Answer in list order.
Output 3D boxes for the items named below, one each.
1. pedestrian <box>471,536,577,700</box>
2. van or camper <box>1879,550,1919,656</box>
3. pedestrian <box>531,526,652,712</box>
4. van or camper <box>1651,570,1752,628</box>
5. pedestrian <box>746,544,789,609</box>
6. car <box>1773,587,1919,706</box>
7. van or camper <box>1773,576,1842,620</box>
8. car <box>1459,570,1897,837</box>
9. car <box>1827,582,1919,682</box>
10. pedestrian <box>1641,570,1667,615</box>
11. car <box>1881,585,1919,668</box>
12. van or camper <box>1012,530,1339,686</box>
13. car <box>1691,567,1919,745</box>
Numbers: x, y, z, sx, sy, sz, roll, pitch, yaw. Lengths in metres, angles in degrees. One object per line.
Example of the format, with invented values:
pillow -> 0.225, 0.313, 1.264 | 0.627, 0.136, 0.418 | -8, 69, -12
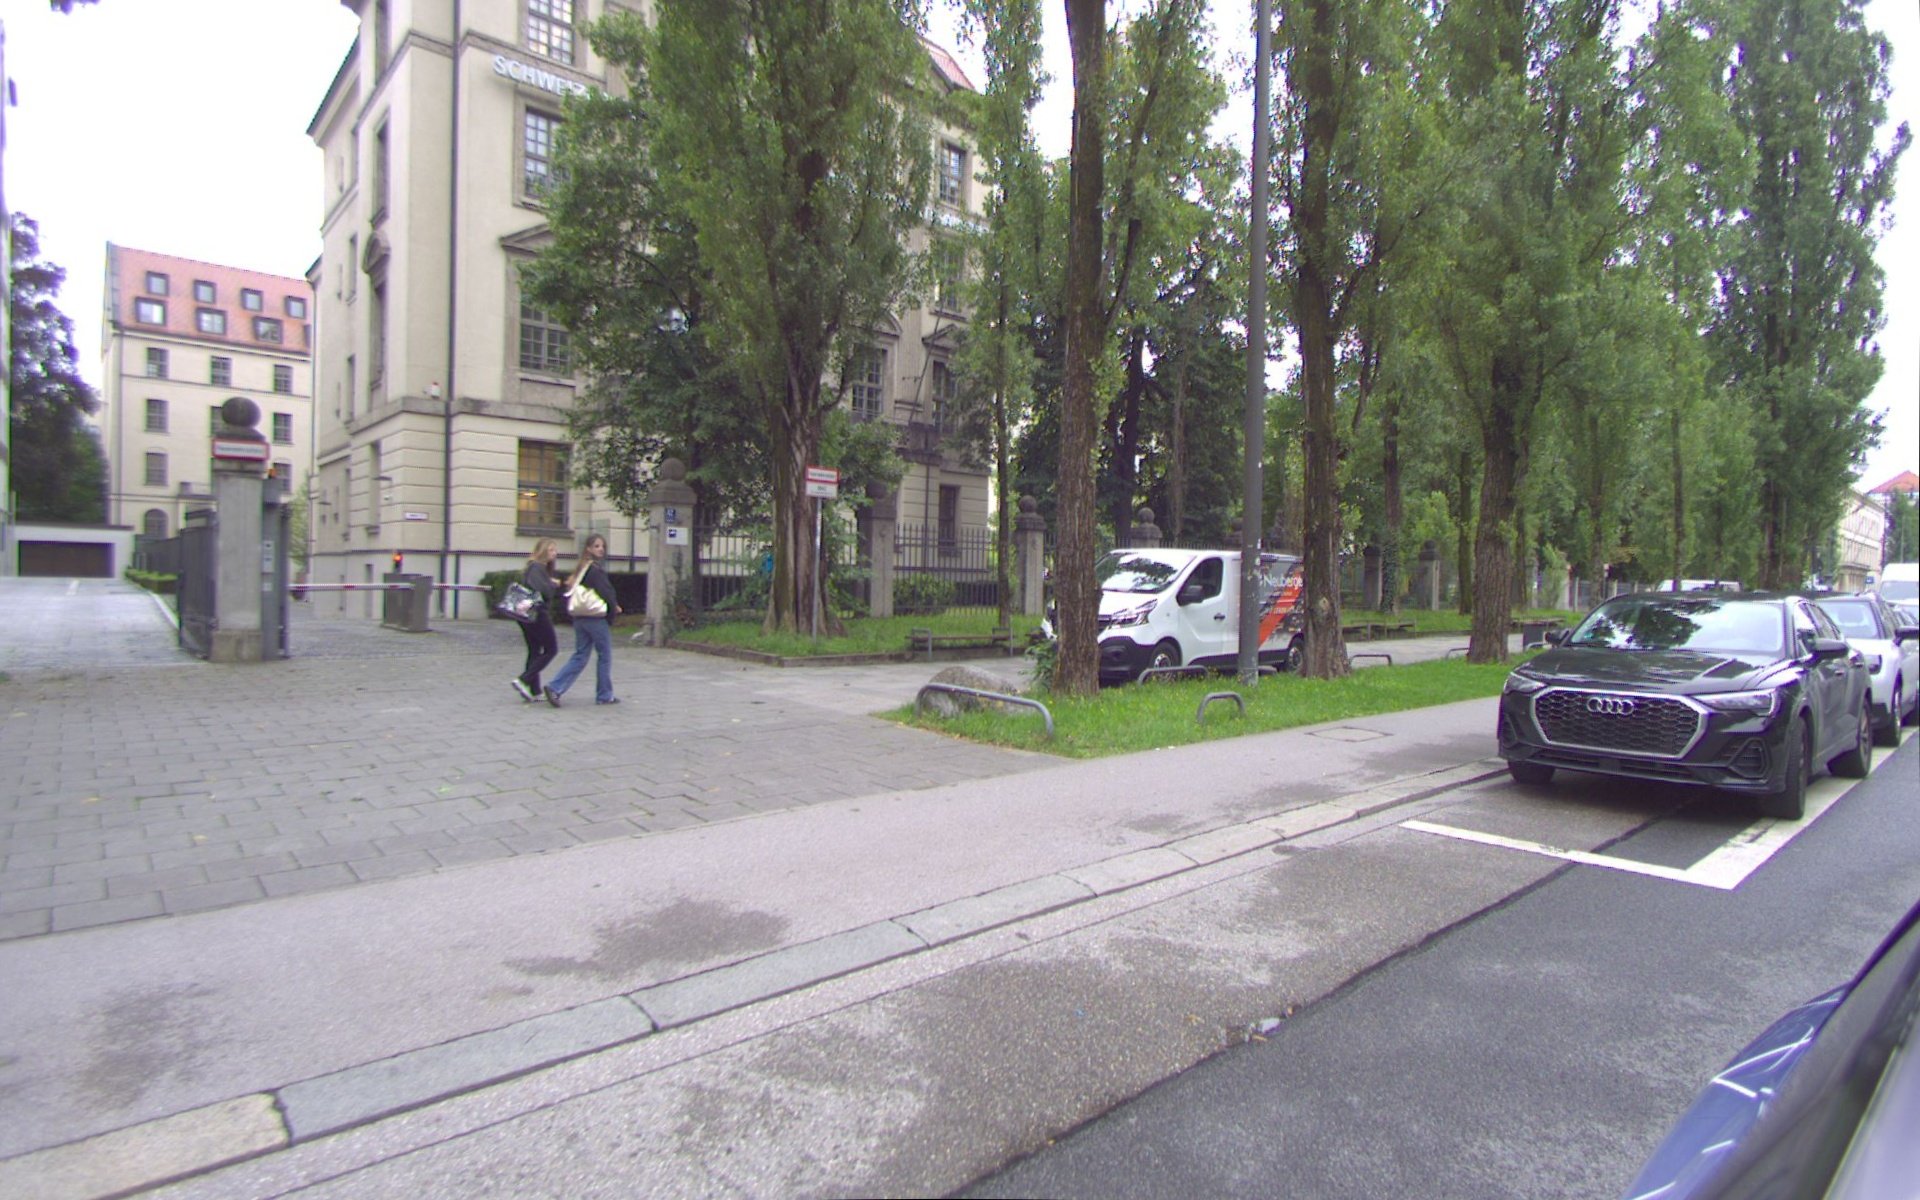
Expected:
pedestrian -> -4.453, 0.165, 10.347 | 0.852, 1.598, 0.568 | 0, 2, -42
van or camper -> 25.895, 0.076, 26.424 | 6.306, 2.572, 2.142 | 0, 1, -42
pedestrian -> -3.668, 0.159, 10.059 | 0.852, 1.738, 0.855 | 0, 2, -42
van or camper -> 26.633, -0.034, 36.268 | 4.952, 1.958, 1.978 | 0, 0, -42
pedestrian -> -5.378, -0.659, 28.285 | 0.879, 1.790, 0.797 | 1, 1, -38
car -> 13.763, 0.617, 15.234 | 4.221, 1.539, 1.705 | 0, 1, -42
van or camper -> 41.013, -0.090, 48.914 | 4.902, 2.039, 2.005 | 0, 0, -43
car -> 5.930, 0.599, 8.137 | 4.386, 1.560, 1.884 | 0, 1, -41
car -> 17.366, 0.541, 18.425 | 4.558, 1.638, 1.787 | 0, 1, -42
pedestrian -> 31.921, -0.345, 46.577 | 0.898, 2.038, 0.946 | 2, 1, 33
car -> 21.261, 0.552, 21.798 | 4.344, 1.669, 1.786 | 0, 1, -44
van or camper -> 3.401, 0.090, 15.223 | 5.275, 1.958, 2.080 | 0, 0, -41
car -> 10.246, 0.530, 11.893 | 4.500, 1.696, 1.746 | 0, 1, -42
